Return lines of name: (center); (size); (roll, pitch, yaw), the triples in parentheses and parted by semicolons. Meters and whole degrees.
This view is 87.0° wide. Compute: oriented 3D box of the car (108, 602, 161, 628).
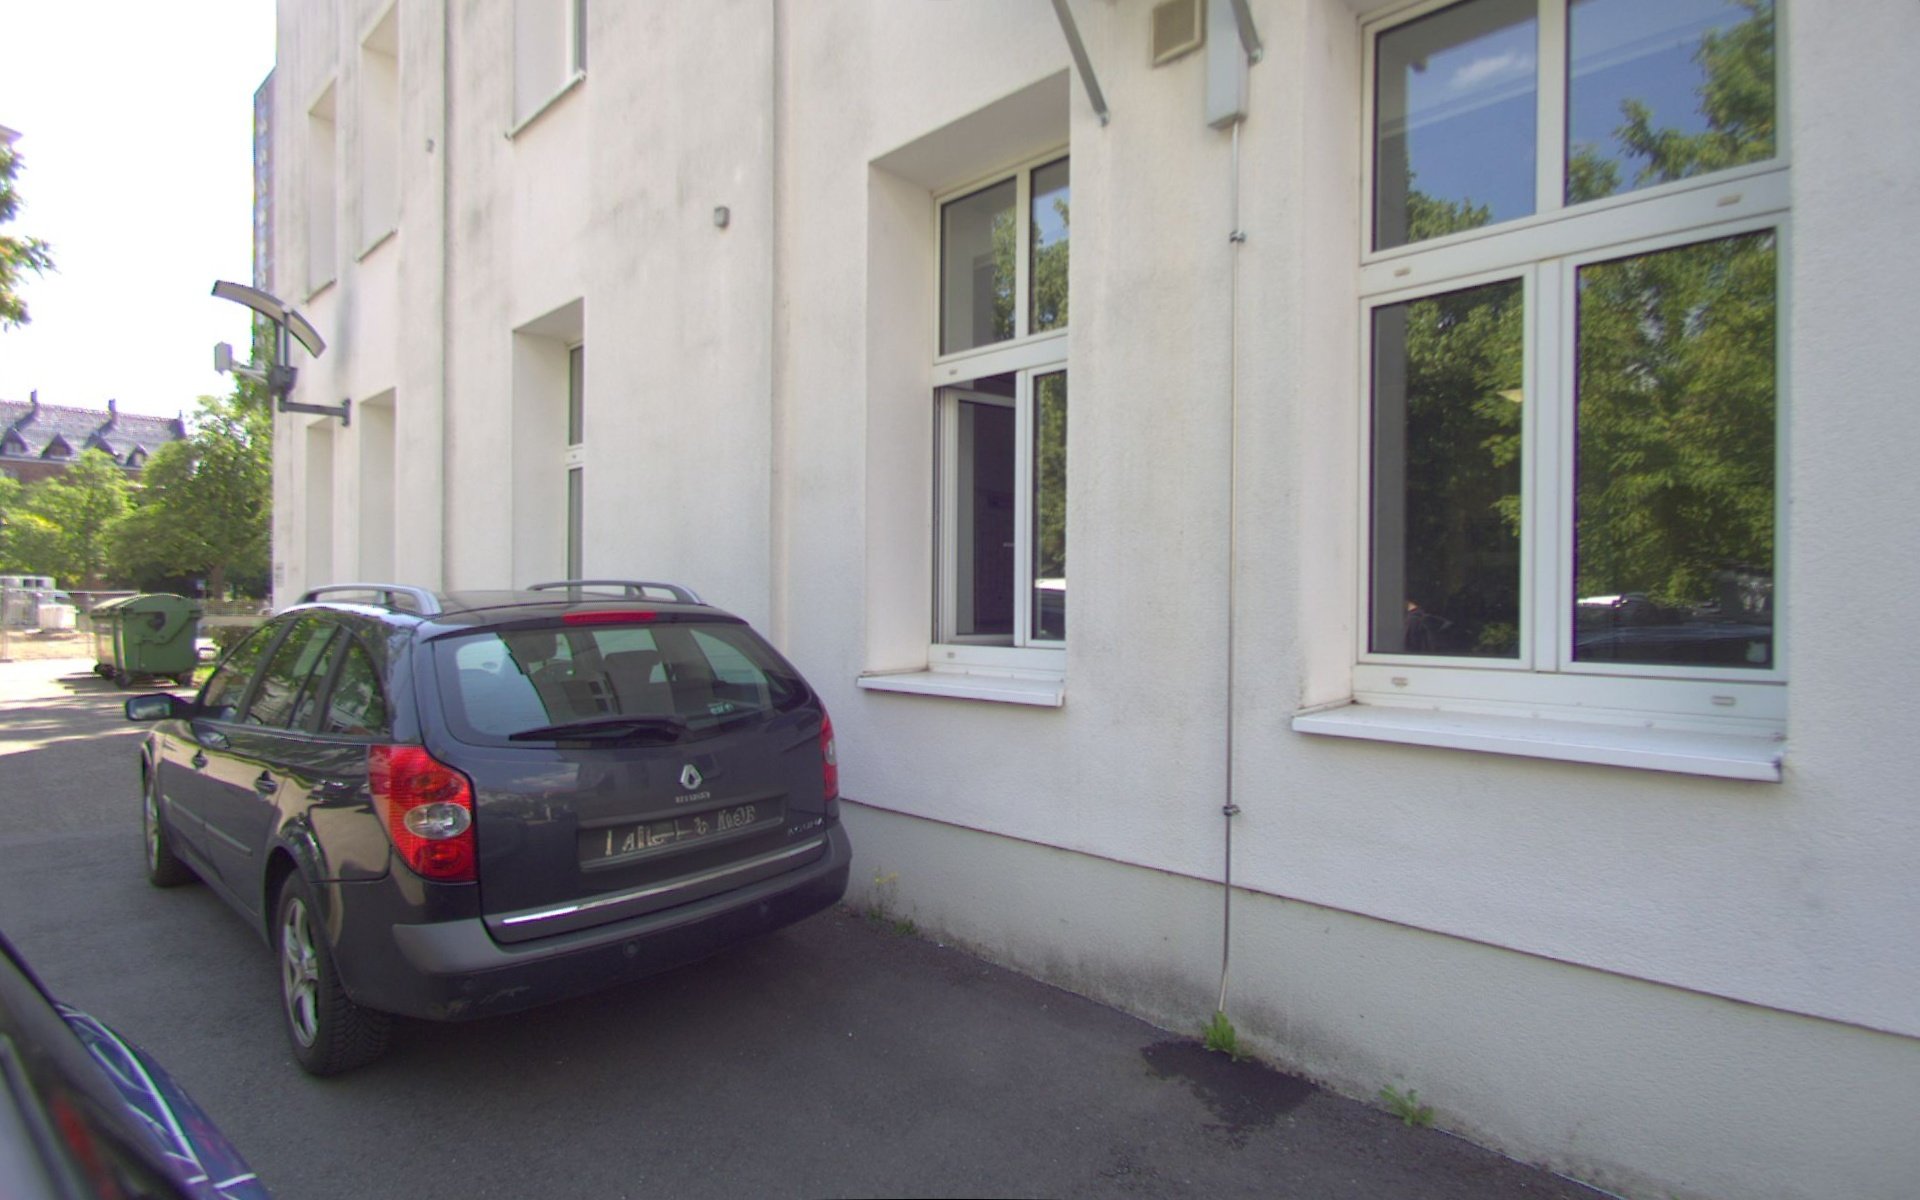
car: (-65.646, 1.191, 80.535); (1.966, 2.029, 4.012); (0, -1, -18)

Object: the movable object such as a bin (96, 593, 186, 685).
movable object such as a bin: (-13.852, 0.641, 17.115); (1.262, 1.490, 1.032); (-1, -2, 45)

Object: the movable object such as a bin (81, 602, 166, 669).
movable object such as a bin: (-18.047, 0.752, 21.880); (1.097, 1.405, 1.164); (1, -1, -22)

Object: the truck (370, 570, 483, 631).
truck: (-37.739, 0.069, 71.449); (9.716, 4.036, 2.720); (0, 0, 33)

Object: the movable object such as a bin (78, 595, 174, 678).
movable object such as a bin: (-15.743, 0.678, 19.107); (1.324, 1.490, 1.191); (-1, -1, 41)

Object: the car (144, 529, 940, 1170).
car: (-2.216, 0.592, 4.466); (1.734, 1.441, 4.389); (1, -1, -44)

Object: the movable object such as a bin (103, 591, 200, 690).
movable object such as a bin: (-12.814, 0.622, 16.040); (1.411, 1.490, 1.032); (-1, -2, 45)

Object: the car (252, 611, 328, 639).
car: (-35.939, 1.325, 54.274); (3.557, 1.451, 1.611); (0, -1, 21)

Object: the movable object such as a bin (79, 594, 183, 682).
movable object such as a bin: (-14.828, 0.660, 18.103); (1.357, 1.490, 1.084); (0, -1, 34)
